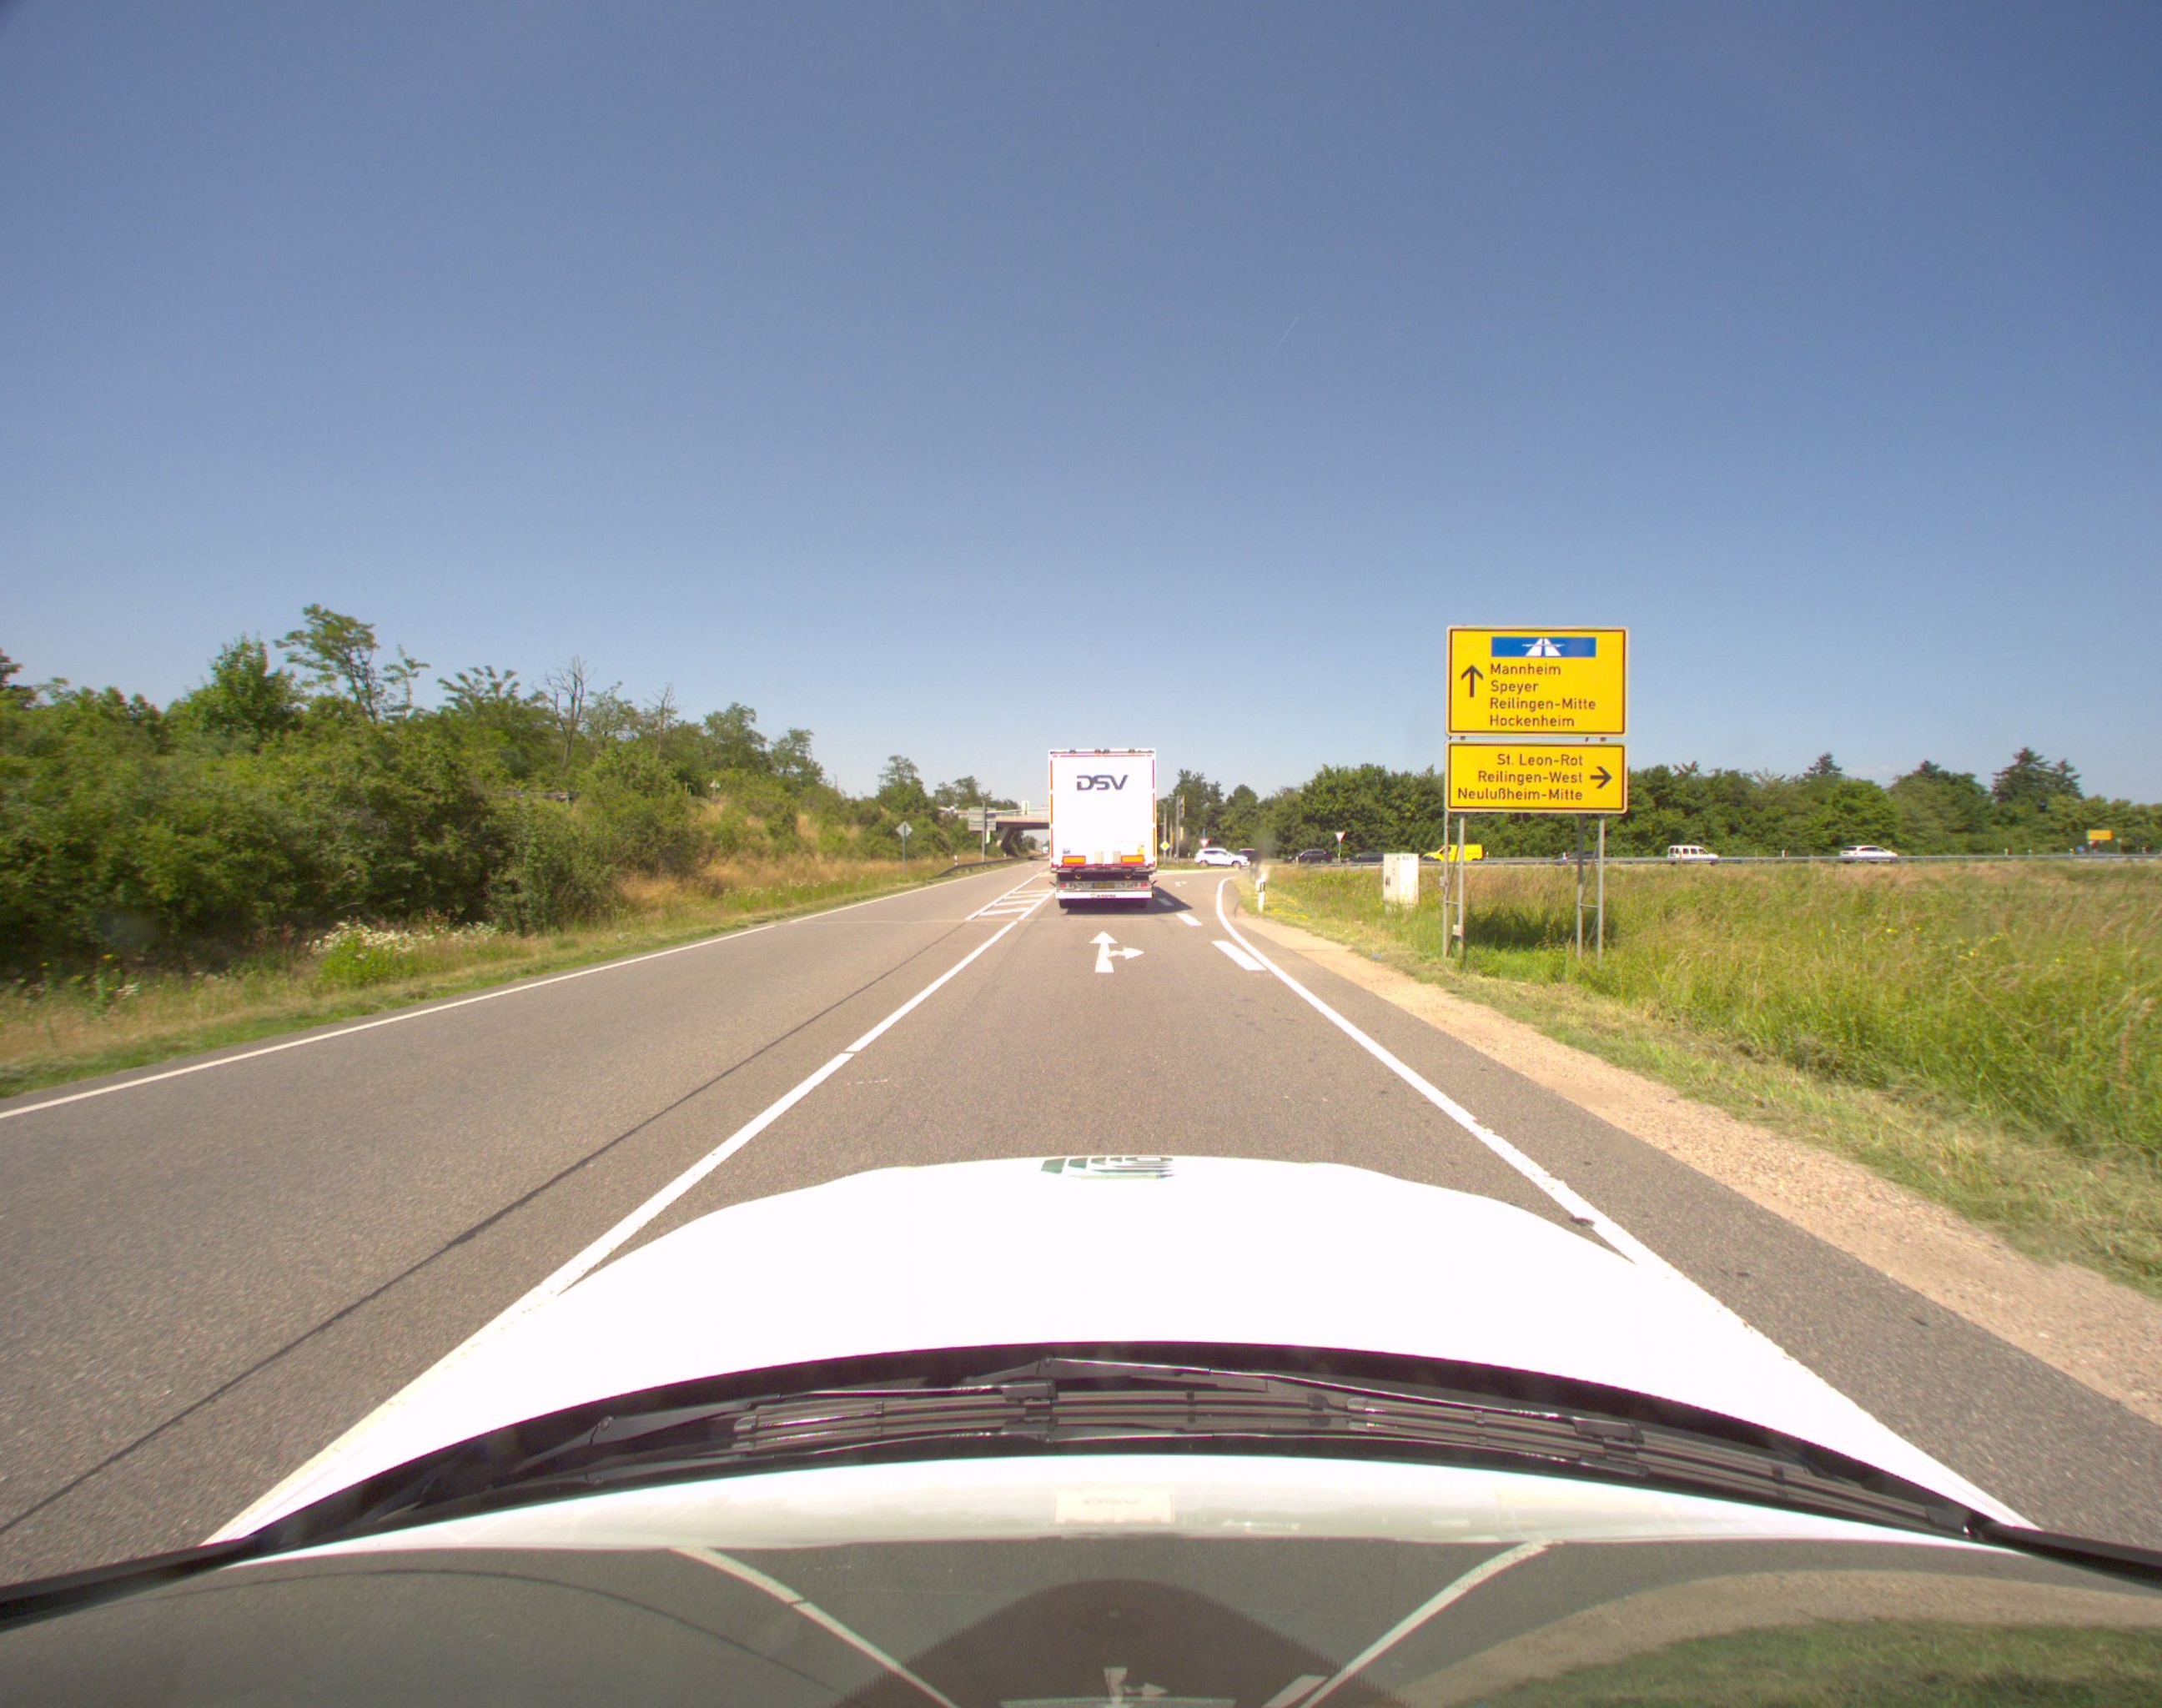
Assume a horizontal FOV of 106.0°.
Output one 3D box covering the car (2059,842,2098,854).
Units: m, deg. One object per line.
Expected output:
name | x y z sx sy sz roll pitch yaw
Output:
car | 125.734 -0.743 102.675 1.829 1.514 4.727 -1 -1 35

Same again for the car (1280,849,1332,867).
car | 21.054 0.406 76.372 4.466 1.598 1.770 0 -1 4

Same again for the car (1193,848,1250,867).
car | 11.687 0.300 67.860 4.432 1.567 1.747 -1 -1 18

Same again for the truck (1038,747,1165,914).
truck | 0.599 -0.542 24.229 2.977 3.942 9.878 0 0 1

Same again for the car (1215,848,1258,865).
car | 15.002 0.248 78.565 3.964 1.640 1.845 0 -1 7

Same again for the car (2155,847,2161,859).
car | 108.302 -0.112 80.711 4.011 1.189 1.701 0 -1 -29

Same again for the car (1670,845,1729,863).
car | 54.556 0.023 71.841 3.978 1.569 1.715 0 -1 -4

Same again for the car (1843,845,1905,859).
car | 70.686 -0.178 72.608 3.976 1.189 1.716 0 -1 -2

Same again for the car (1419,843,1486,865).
car | 34.464 0.021 75.627 5.300 2.014 2.001 0 -1 3

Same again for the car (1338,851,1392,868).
car | 27.020 0.508 77.614 4.655 1.514 1.858 0 -1 8
